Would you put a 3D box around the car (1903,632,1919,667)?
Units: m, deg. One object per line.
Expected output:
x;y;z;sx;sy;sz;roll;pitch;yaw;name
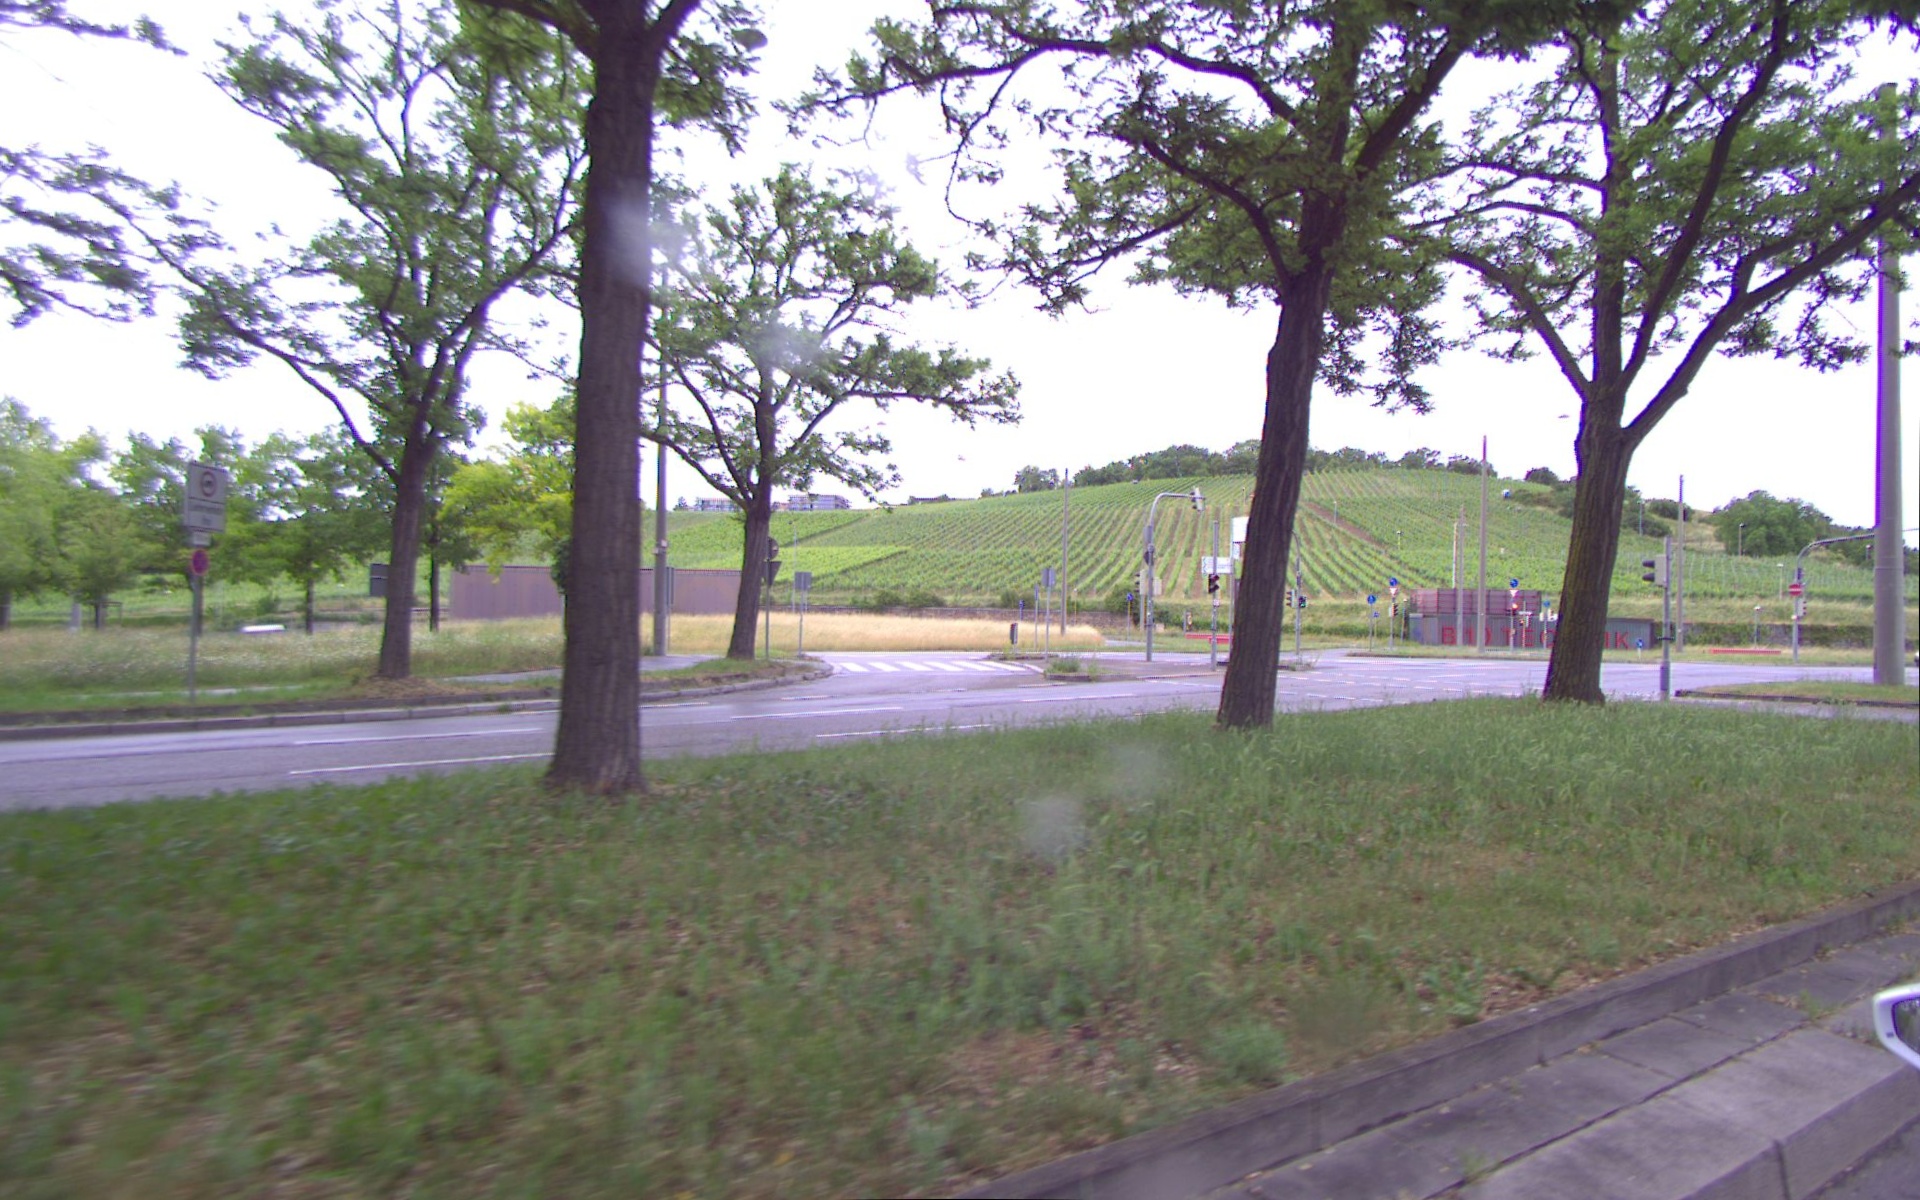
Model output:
48.998;2.523;49.648;4.503;1.645;1.824;2;0;-24;car
